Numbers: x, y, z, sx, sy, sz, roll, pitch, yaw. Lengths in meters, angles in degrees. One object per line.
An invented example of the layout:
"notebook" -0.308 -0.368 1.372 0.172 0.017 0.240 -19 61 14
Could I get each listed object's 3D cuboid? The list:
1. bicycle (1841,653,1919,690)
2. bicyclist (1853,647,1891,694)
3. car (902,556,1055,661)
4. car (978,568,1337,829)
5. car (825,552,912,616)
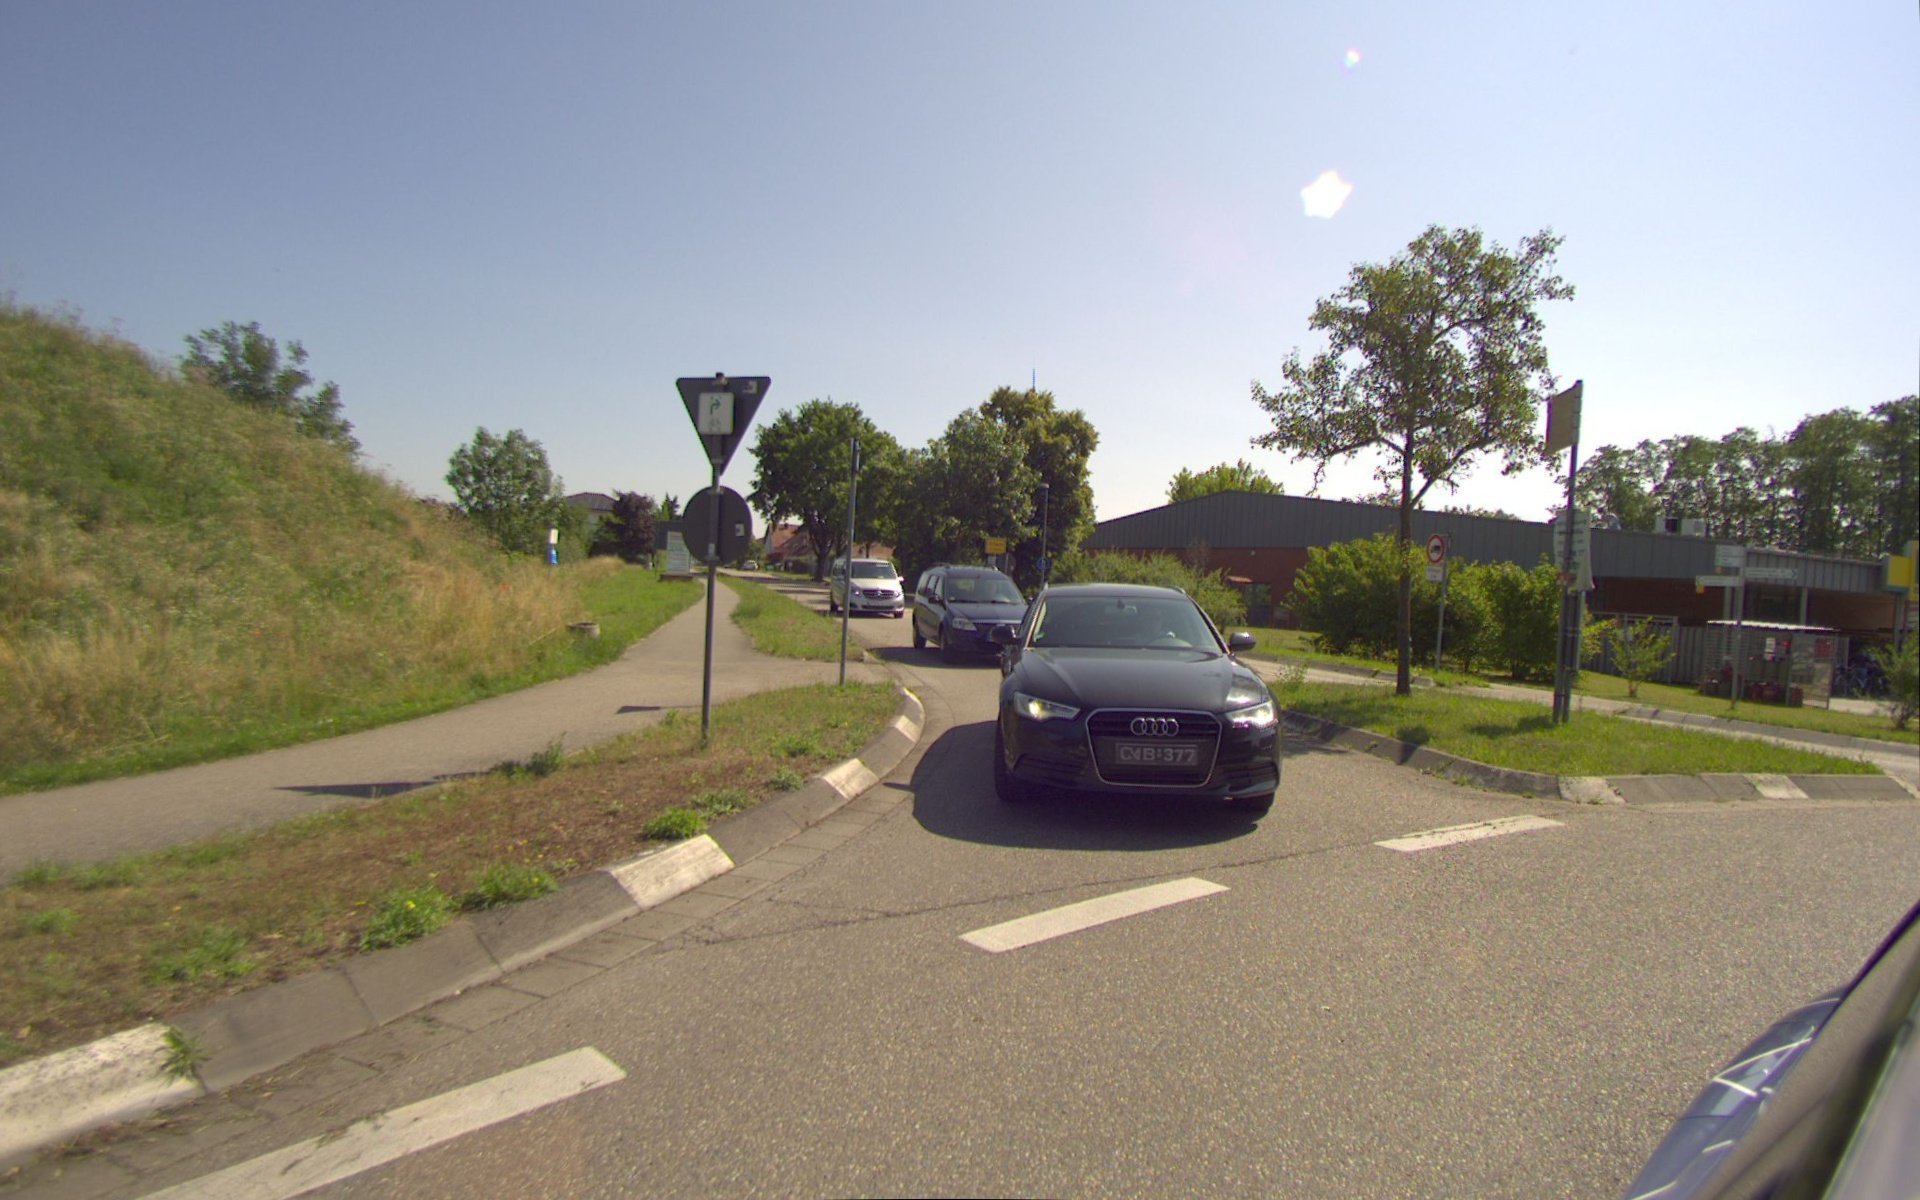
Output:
"bicycle" 31.520 2.435 34.698 0.542 1.054 2.079 3 1 -7
"bicyclist" 31.500 2.425 34.957 0.595 1.533 0.678 3 1 -7
"car" 0.185 0.061 18.486 1.778 1.661 4.665 0 2 -12
"car" 1.158 0.481 8.173 1.887 1.452 4.914 1 2 0
"car" -3.116 -0.579 33.389 1.958 1.838 5.214 3 2 -14
